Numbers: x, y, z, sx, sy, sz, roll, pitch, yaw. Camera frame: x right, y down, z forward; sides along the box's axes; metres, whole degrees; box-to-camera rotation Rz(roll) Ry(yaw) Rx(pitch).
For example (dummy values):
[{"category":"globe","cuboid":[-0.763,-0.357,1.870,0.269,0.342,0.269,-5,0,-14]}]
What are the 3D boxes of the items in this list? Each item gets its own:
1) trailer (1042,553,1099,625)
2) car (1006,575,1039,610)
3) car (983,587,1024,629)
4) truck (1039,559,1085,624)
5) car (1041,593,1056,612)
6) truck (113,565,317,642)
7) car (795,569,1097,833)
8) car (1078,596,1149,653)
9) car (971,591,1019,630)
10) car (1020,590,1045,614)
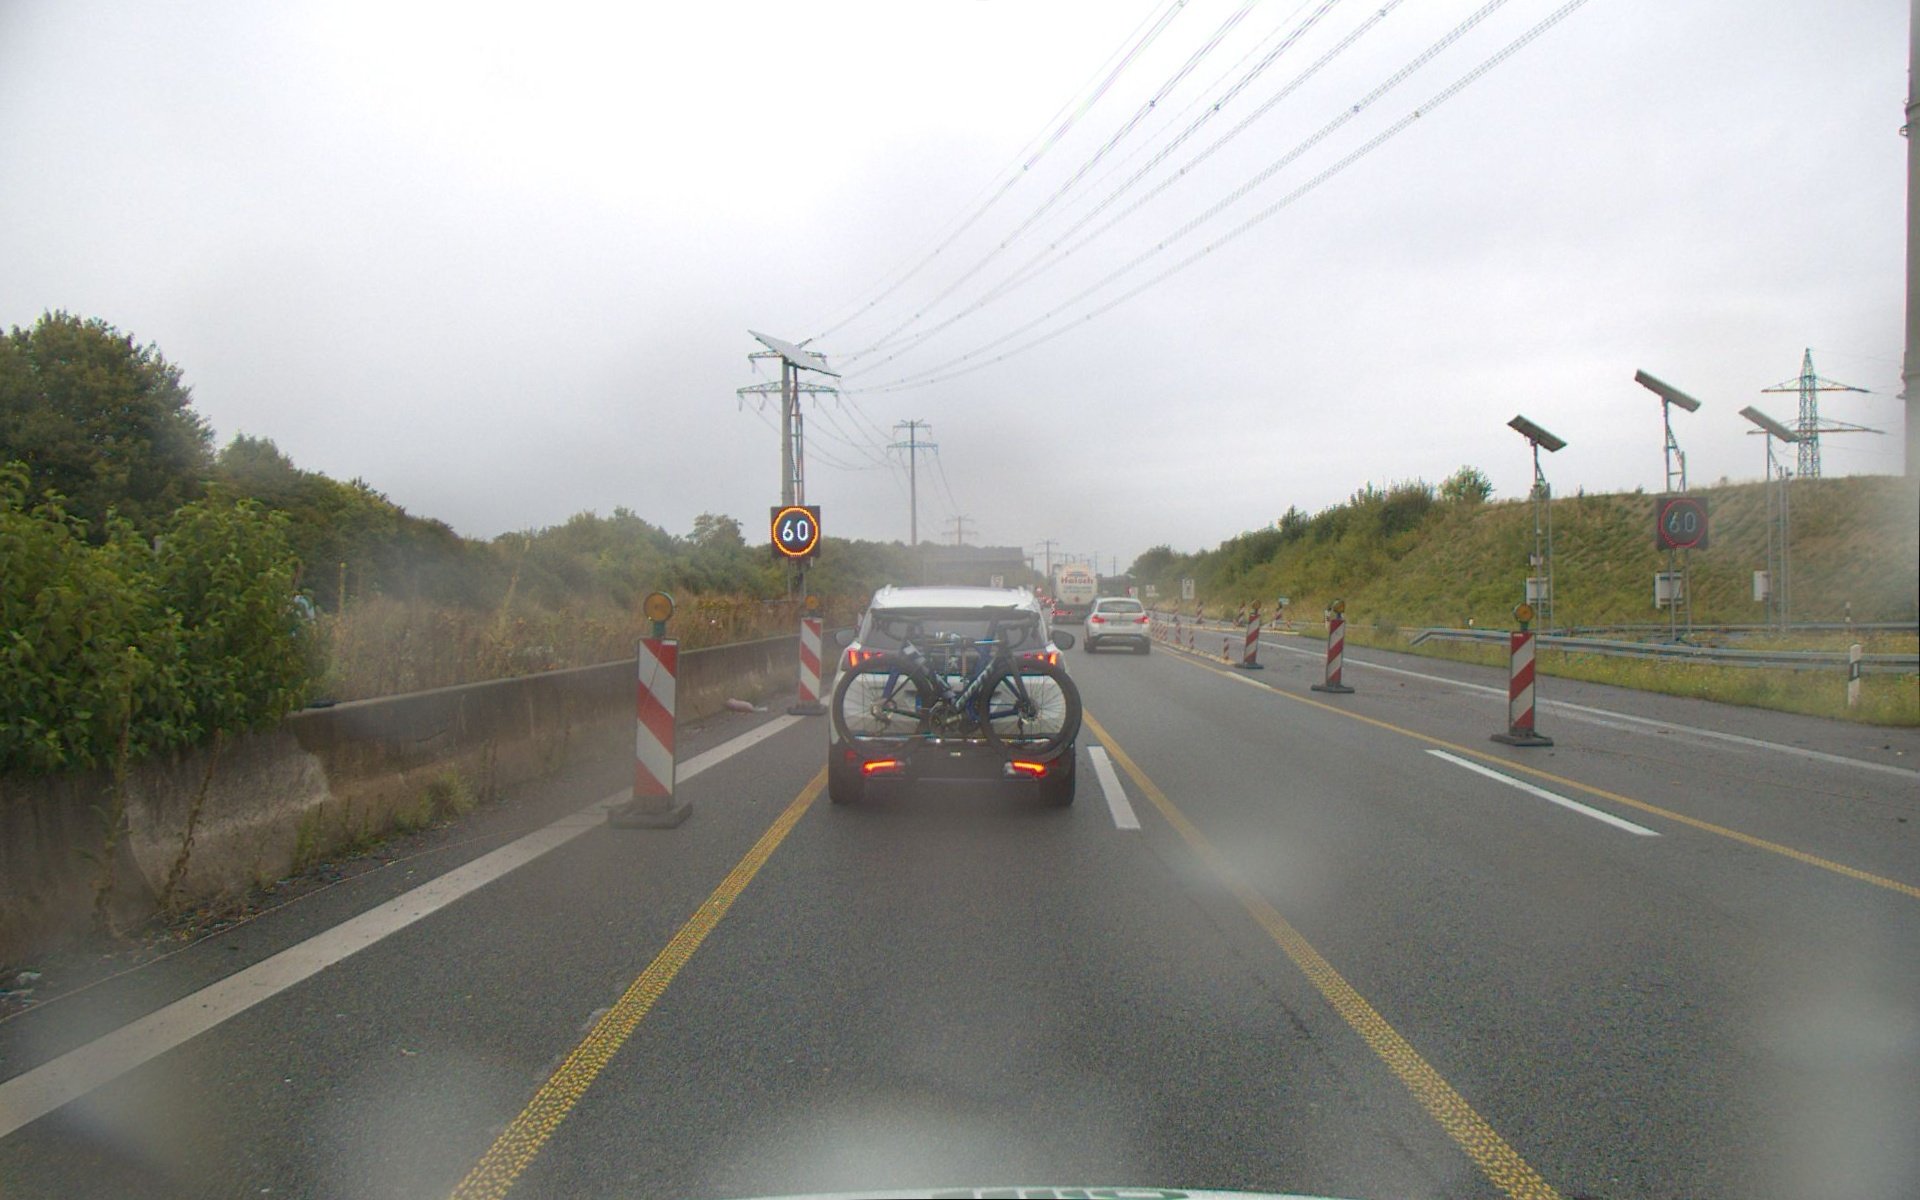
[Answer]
[{"category":"trailer","cuboid":[6.512,-0.573,98.515,2.584,3.961,10.541,1,-1,0]},{"category":"car","cuboid":[4.023,-0.456,106.500,1.953,2.049,3.999,1,-2,0]},{"category":"car","cuboid":[2.192,0.401,84.052,1.953,2.049,4.000,-1,0,0]},{"category":"truck","cuboid":[6.465,-0.512,104.897,2.591,3.959,4.029,1,-1,-1]},{"category":"car","cuboid":[10.073,0.271,187.905,1.619,2.049,4.002,0,0,4]},{"category":"truck","cuboid":[-25.228,0.052,56.325,1.956,2.470,6.423,-1,1,29]},{"category":"car","cuboid":[-0.008,0.630,12.702,1.888,1.639,4.596,0,0,2]},{"category":"car","cuboid":[4.333,0.665,47.152,1.831,1.561,4.198,0,0,3]},{"category":"car","cuboid":[1.451,0.431,70.048,1.953,1.611,4.000,0,0,0]},{"category":"car","cuboid":[6.345,0.164,145.079,1.953,2.049,3.999,1,-1,0]}]
